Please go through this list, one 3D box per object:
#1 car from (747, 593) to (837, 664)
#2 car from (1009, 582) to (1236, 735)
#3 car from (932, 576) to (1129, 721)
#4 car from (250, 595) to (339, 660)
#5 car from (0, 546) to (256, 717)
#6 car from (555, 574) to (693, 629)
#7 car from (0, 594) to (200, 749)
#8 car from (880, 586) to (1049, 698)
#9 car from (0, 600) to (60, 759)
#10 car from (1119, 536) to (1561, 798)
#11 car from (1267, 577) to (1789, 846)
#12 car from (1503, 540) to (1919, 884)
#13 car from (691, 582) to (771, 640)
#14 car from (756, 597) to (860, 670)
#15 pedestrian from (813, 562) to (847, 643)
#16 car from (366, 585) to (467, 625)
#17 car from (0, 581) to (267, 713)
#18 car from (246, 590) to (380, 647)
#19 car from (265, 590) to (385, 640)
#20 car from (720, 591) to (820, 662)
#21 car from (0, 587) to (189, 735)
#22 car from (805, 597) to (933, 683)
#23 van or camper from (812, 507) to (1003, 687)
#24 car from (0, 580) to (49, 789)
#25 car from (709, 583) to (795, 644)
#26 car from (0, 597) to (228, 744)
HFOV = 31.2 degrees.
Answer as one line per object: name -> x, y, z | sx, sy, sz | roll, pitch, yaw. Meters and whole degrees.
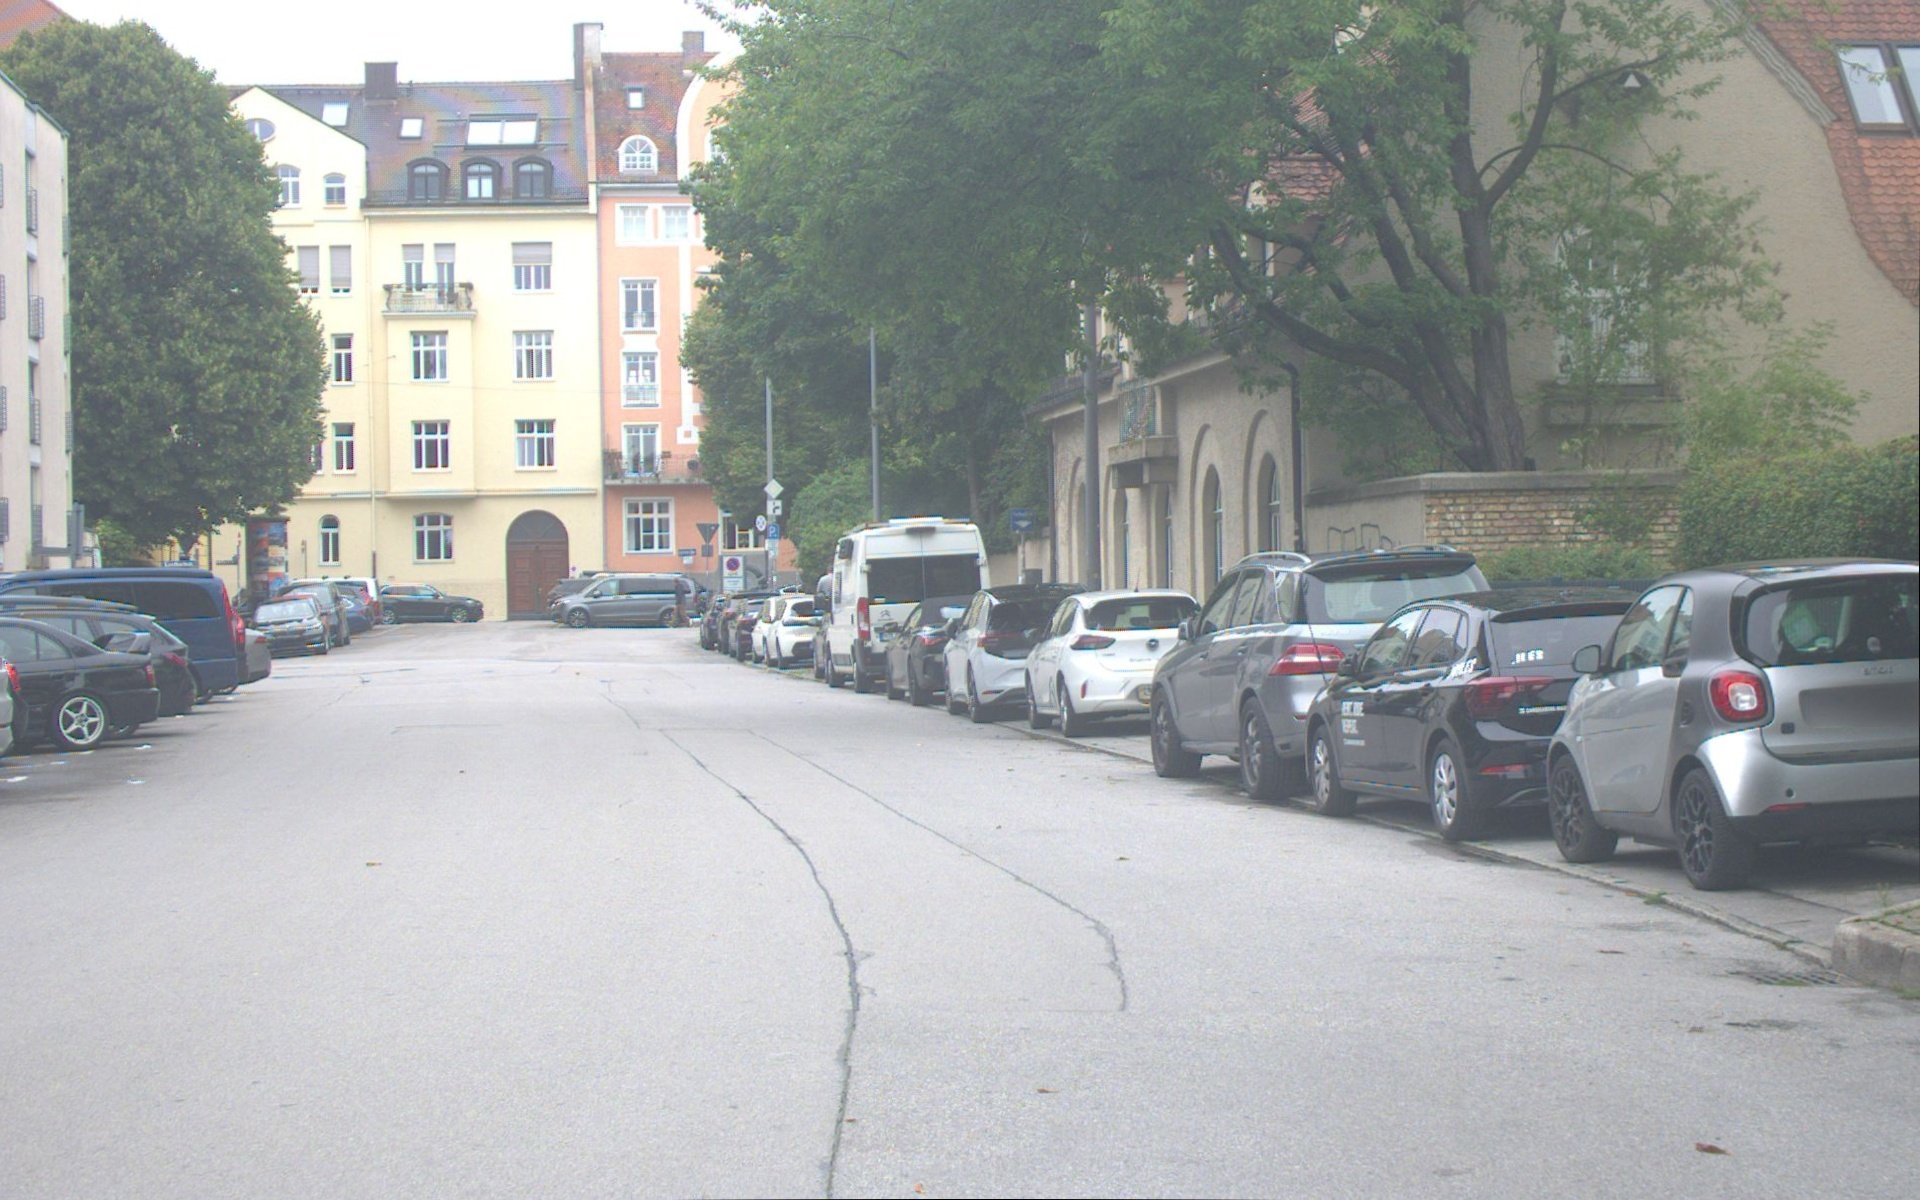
car -> -3.754, 0.616, 76.304 | 1.707, 1.461, 3.838 | -2, 0, -6
car -> 1.621, 0.581, 35.543 | 1.685, 1.436, 4.001 | -2, 0, -6
car -> 0.775, 0.534, 40.620 | 1.707, 1.532, 4.240 | -3, 0, -6
car -> -16.914, 0.681, 87.544 | 1.834, 1.503, 4.001 | -4, 1, -7
car -> -11.563, 0.411, 44.934 | 4.205, 2.059, 1.737 | -3, 1, -36
car -> -11.783, 0.038, 120.514 | 4.702, 1.874, 1.840 | 0, 0, -8
car -> -10.016, 0.759, 34.656 | 4.205, 1.456, 1.737 | -3, 1, -37
car -> 0.009, 0.533, 46.366 | 1.707, 1.364, 4.441 | -2, 0, -7
car -> -10.660, 0.785, 31.716 | 4.204, 1.456, 1.793 | -1, 0, -31
car -> 2.731, 0.448, 26.013 | 1.993, 1.705, 4.886 | -3, 1, -10
car -> 3.392, 0.618, 21.414 | 1.876, 1.422, 4.223 | -3, 1, -10
car -> 4.083, 0.511, 17.326 | 1.738, 1.531, 2.947 | -3, 0, -10
car -> -6.068, 0.276, 90.785 | 1.669, 1.339, 3.839 | -2, 2, -10
car -> -3.184, 0.671, 71.394 | 1.707, 1.403, 4.131 | -2, 0, -8
pedestrian -> -3.245, 0.066, 85.896 | 0.773, 2.007, 0.563 | -1, 0, -7
car -> -22.422, 0.216, 141.948 | 3.986, 1.581, 1.703 | -1, 0, -6
car -> -12.379, 0.664, 50.021 | 4.107, 1.702, 1.737 | -3, 1, -37
car -> -20.577, 0.585, 109.418 | 3.986, 1.503, 1.840 | -4, 0, -7
car -> -22.379, 0.521, 121.254 | 3.986, 1.503, 1.840 | -4, 0, -7
car -> -4.473, 0.596, 80.543 | 1.802, 1.461, 3.839 | -2, 2, -11
car -> -11.308, 0.746, 39.901 | 4.204, 1.604, 1.737 | -3, 1, -32
car -> -1.613, 0.670, 59.540 | 1.707, 1.364, 4.131 | -2, 0, -8
van or camper -> -0.890, -0.047, 53.174 | 2.192, 2.541, 5.729 | -2, 0, -8
car -> -9.556, 0.714, 26.713 | 4.397, 1.615, 2.086 | -1, 0, -28
car -> -5.217, 0.321, 85.927 | 1.669, 1.339, 3.839 | -2, 2, -10
car -> -10.305, 0.790, 37.422 | 4.203, 1.456, 1.737 | -3, 1, -28
